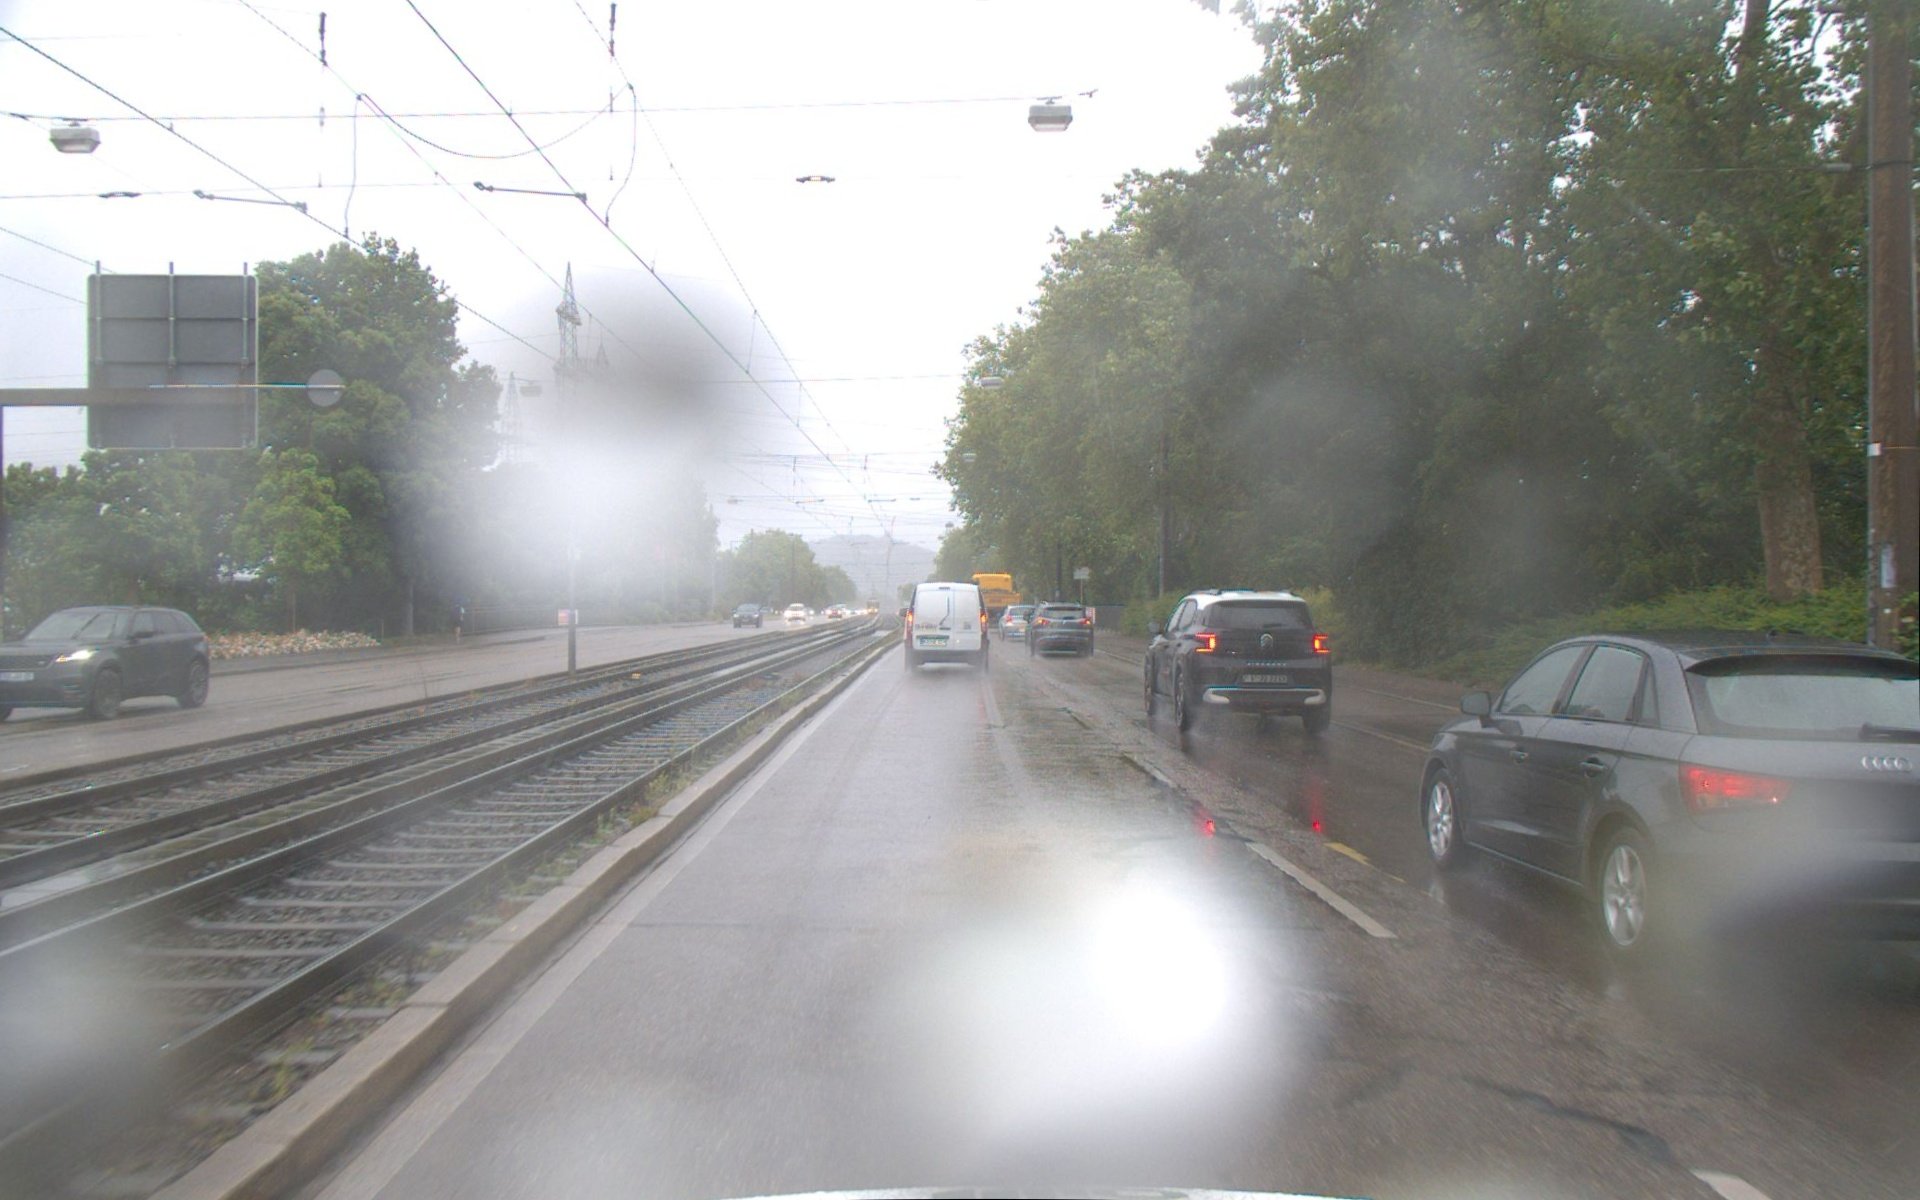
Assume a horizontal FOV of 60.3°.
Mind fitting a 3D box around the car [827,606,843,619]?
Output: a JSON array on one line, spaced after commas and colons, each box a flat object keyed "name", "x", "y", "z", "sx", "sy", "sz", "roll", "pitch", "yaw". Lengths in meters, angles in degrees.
[{"name": "car", "x": -15.536, "y": 1.525, "z": 205.111, "sx": 1.623, "sy": 1.512, "sz": 4.013, "roll": 0, "pitch": 0, "yaw": 0}]

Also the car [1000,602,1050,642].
[{"name": "car", "x": 2.518, "y": 0.856, "z": 65.253, "sx": 1.781, "sy": 1.438, "sz": 3.778, "roll": 1, "pitch": 1, "yaw": 0}]

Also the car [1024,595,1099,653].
[{"name": "car", "x": 2.767, "y": 0.626, "z": 45.638, "sx": 1.781, "sy": 1.438, "sz": 3.778, "roll": 1, "pitch": 1, "yaw": 0}]

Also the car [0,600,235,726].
[{"name": "car", "x": -13.493, "y": 0.904, "z": 26.135, "sx": 1.953, "sy": 1.751, "sz": 4.881, "roll": -1, "pitch": 0, "yaw": -1}]

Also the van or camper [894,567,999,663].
[{"name": "van or camper", "x": -0.338, "y": 0.258, "z": 34.751, "sx": 1.954, "sy": 1.815, "sz": 3.998, "roll": 2, "pitch": 1, "yaw": -4}]

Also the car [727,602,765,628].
[{"name": "car", "x": -14.340, "y": 1.002, "z": 111.031, "sx": 1.952, "sy": 1.646, "sz": 4.253, "roll": 0, "pitch": 0, "yaw": 1}]

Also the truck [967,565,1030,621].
[{"name": "truck", "x": 1.969, "y": -0.377, "z": 87.295, "sx": 3.050, "sy": 2.821, "sz": 6.328, "roll": 1, "pitch": 0, "yaw": -1}]

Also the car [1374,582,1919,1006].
[{"name": "car", "x": 3.603, "y": 0.719, "z": 8.207, "sx": 1.928, "sy": 1.555, "sz": 3.989, "roll": 1, "pitch": 1, "yaw": -3}]

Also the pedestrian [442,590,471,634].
[{"name": "pedestrian", "x": -20.826, "y": 0.476, "z": 68.451, "sx": 0.834, "sy": 1.790, "sz": 1.120, "roll": -1, "pitch": 0, "yaw": -1}]

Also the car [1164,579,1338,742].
[{"name": "car", "x": 3.550, "y": 0.637, "z": 20.654, "sx": 1.859, "sy": 1.746, "sz": 4.730, "roll": 1, "pitch": 1, "yaw": 8}]
